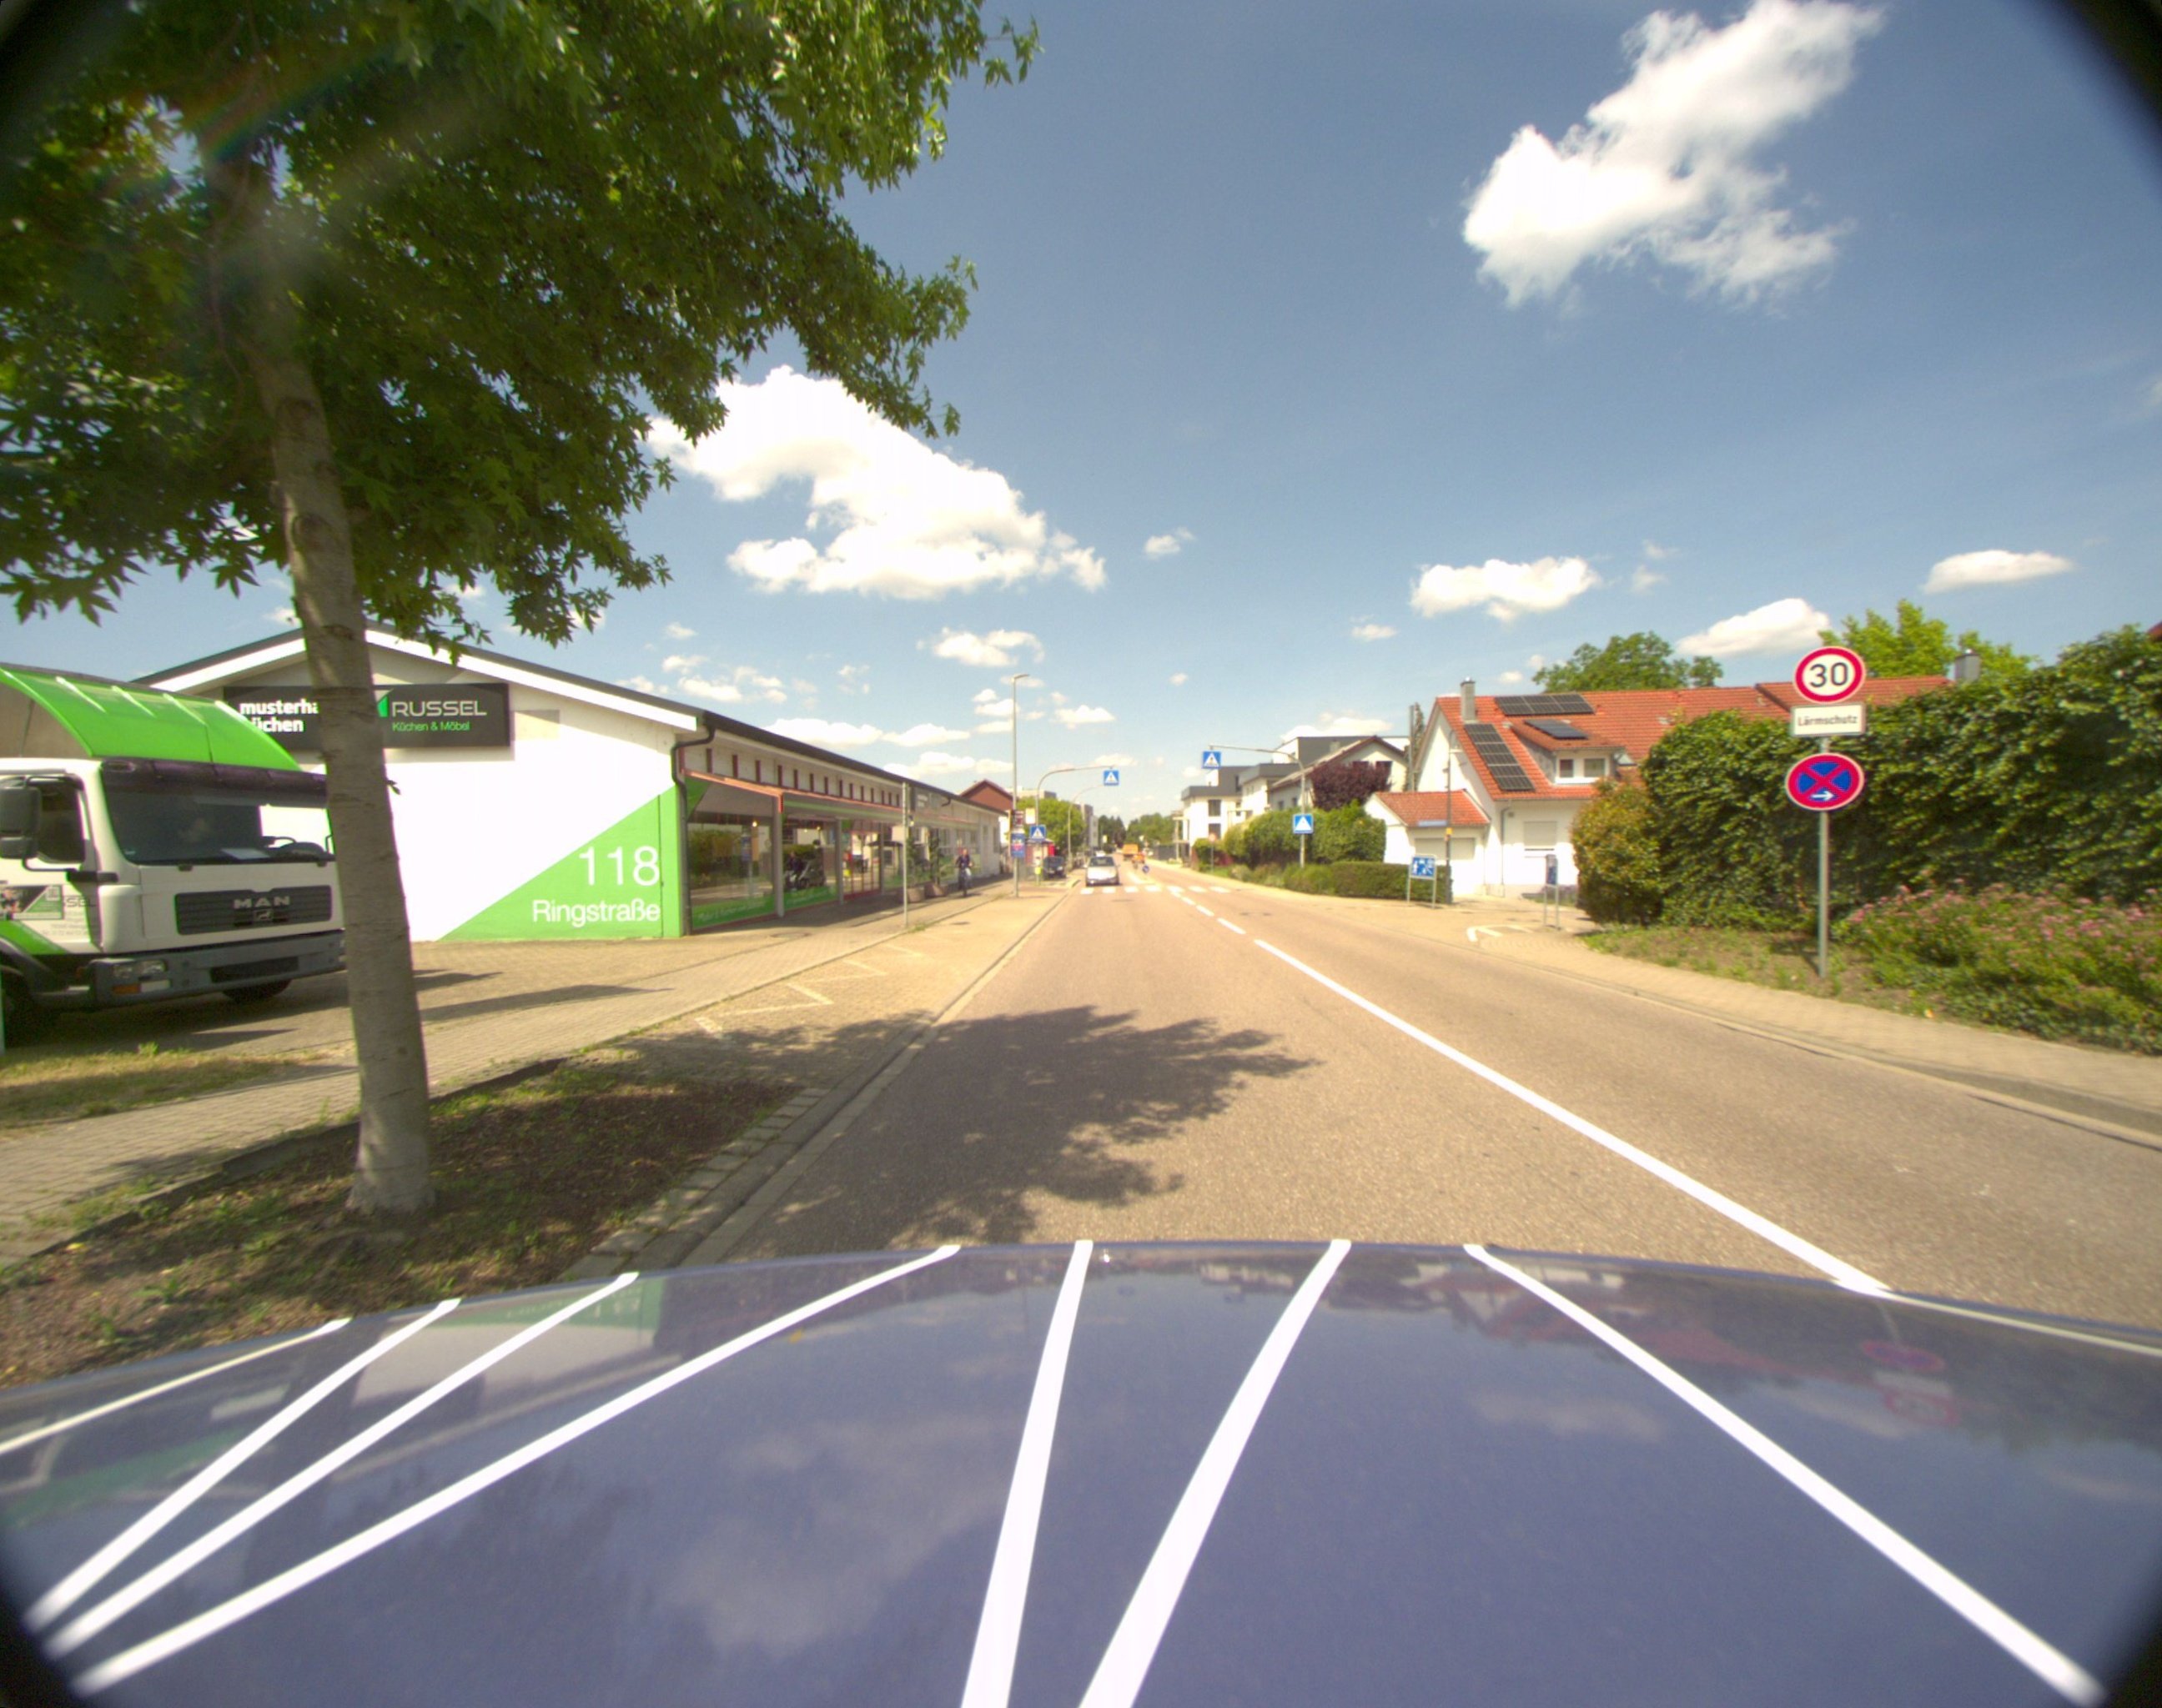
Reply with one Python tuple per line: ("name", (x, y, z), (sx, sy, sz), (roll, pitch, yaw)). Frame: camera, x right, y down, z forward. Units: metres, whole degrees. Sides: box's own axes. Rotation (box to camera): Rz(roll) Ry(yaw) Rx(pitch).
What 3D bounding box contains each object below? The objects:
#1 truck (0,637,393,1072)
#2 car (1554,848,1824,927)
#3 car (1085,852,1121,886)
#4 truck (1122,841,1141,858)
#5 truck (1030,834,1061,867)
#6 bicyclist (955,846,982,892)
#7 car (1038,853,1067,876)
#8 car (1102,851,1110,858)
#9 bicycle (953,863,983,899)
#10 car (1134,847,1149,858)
("truck", (-12.299, 0.083, 7.680), (8.190, 3.552, 2.677), (-1, 2, 2))
("car", (15.247, 0.786, 19.349), (5.063, 1.841, 2.001), (0, 1, 7))
("car", (1.151, 0.747, 40.284), (1.722, 1.590, 3.760), (-3, 1, 2))
("truck", (8.374, -0.811, 127.296), (2.864, 2.695, 6.791), (1, 1, 2))
("truck", (-3.210, -0.305, 66.982), (2.580, 2.745, 6.331), (0, 1, -4))
("bicyclist", (-4.086, 0.544, 27.692), (0.805, 1.621, 1.111), (0, 2, 0))
("car", (-1.906, 0.696, 51.802), (1.729, 1.484, 3.760), (0, 1, 2))
("car", (5.409, 0.053, 162.755), (1.729, 1.484, 3.760), (0, 1, 3))
("bicycle", (-4.106, 0.970, 27.816), (0.805, 1.158, 1.942), (0, 2, 0))
("car", (8.425, -0.242, 105.833), (1.799, 1.480, 3.613), (1, 1, 2))
